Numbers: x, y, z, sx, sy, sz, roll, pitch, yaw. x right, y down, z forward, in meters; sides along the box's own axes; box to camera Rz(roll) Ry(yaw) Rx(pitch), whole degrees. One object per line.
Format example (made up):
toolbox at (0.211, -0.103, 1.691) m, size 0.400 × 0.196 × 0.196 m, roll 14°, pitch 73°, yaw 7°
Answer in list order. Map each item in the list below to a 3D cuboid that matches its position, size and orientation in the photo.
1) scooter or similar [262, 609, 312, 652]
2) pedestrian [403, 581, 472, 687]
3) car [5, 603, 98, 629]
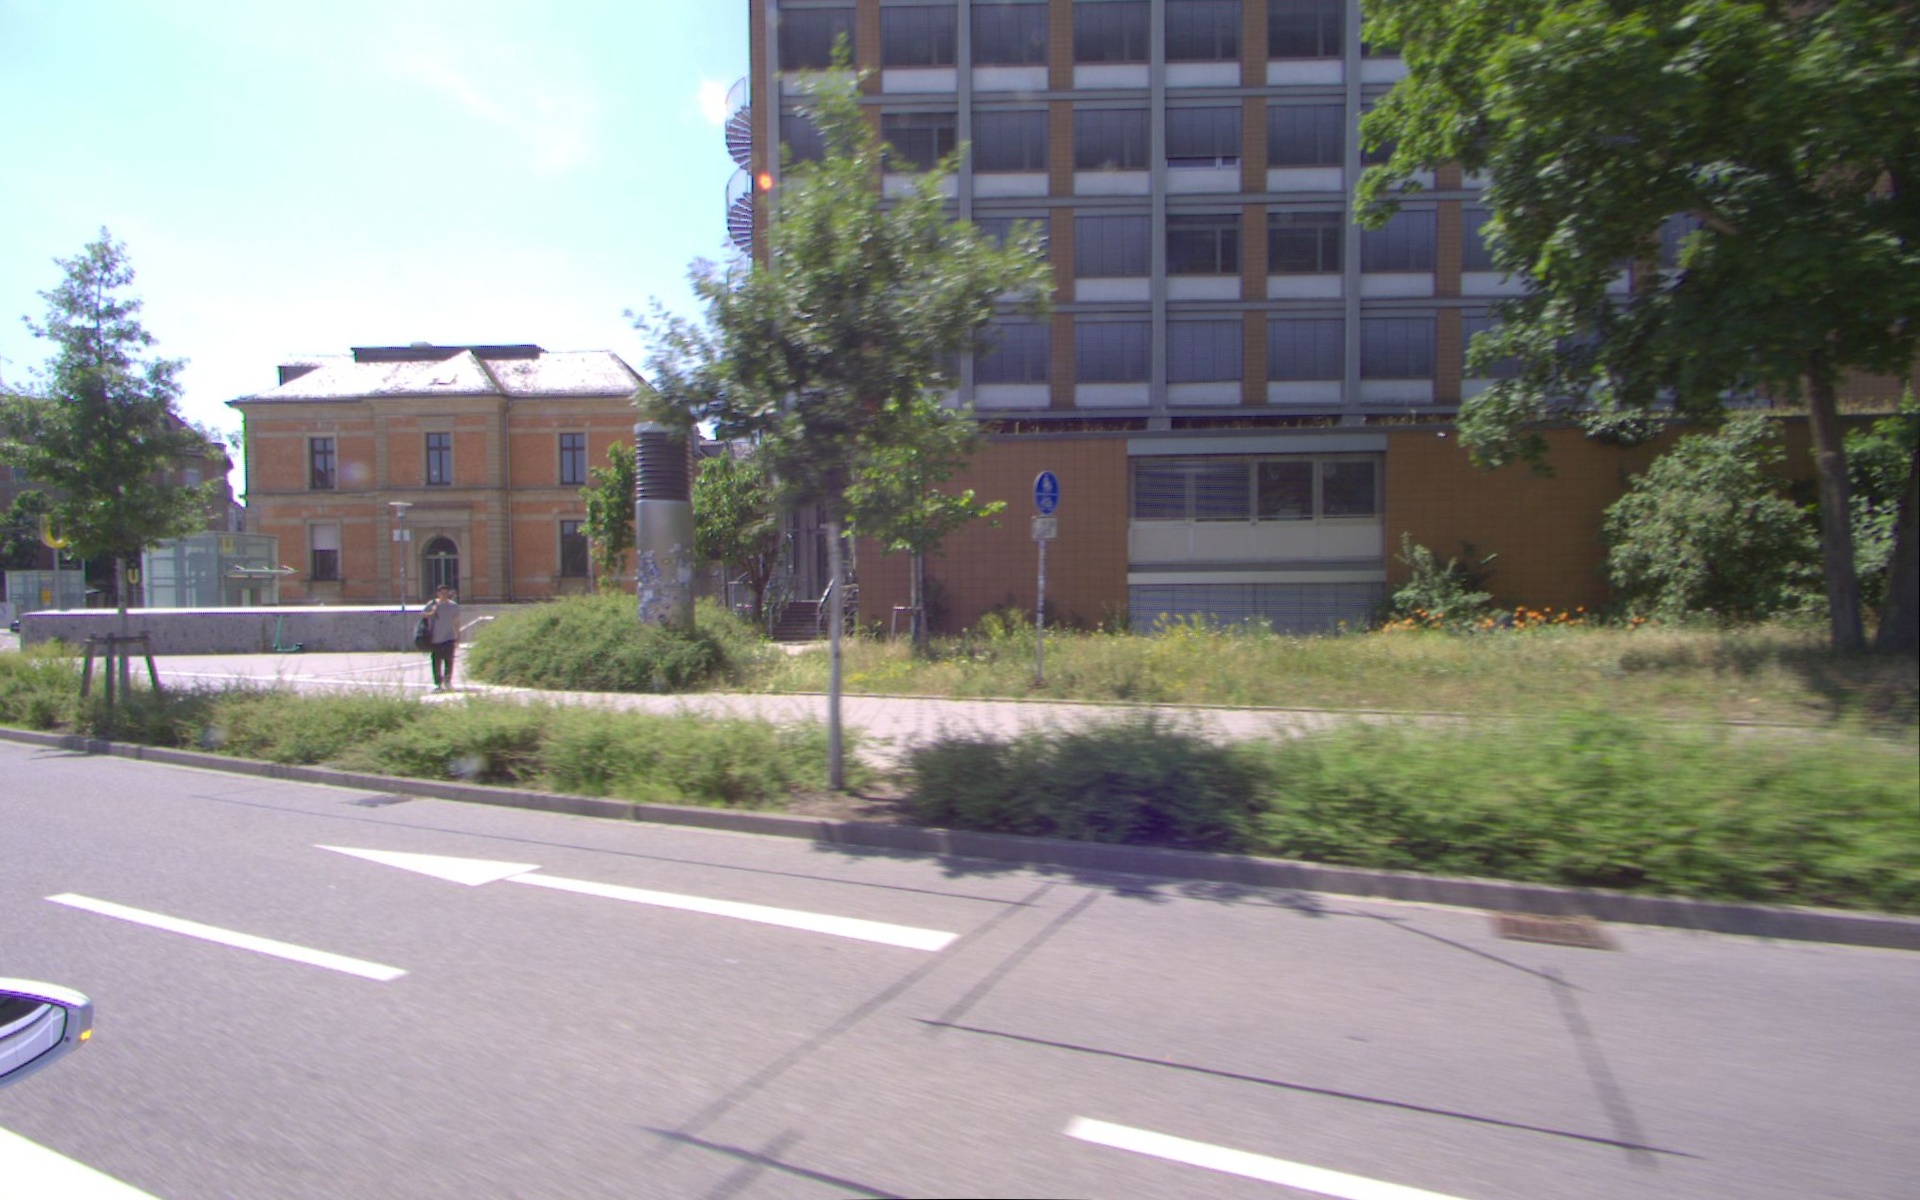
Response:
scooter or similar at (-19.515, 0.874, 29.048) m, size 1.265 × 1.183 × 0.397 m, roll 2°, pitch 1°, yaw 10°
pedestrian at (-8.770, 0.563, 16.812) m, size 0.799 × 1.728 × 0.730 m, roll 1°, pitch 0°, yaw 33°
car at (-56.392, 0.961, 62.251) m, size 1.665 × 1.470 × 4.111 m, roll 2°, pitch 0°, yaw 13°
